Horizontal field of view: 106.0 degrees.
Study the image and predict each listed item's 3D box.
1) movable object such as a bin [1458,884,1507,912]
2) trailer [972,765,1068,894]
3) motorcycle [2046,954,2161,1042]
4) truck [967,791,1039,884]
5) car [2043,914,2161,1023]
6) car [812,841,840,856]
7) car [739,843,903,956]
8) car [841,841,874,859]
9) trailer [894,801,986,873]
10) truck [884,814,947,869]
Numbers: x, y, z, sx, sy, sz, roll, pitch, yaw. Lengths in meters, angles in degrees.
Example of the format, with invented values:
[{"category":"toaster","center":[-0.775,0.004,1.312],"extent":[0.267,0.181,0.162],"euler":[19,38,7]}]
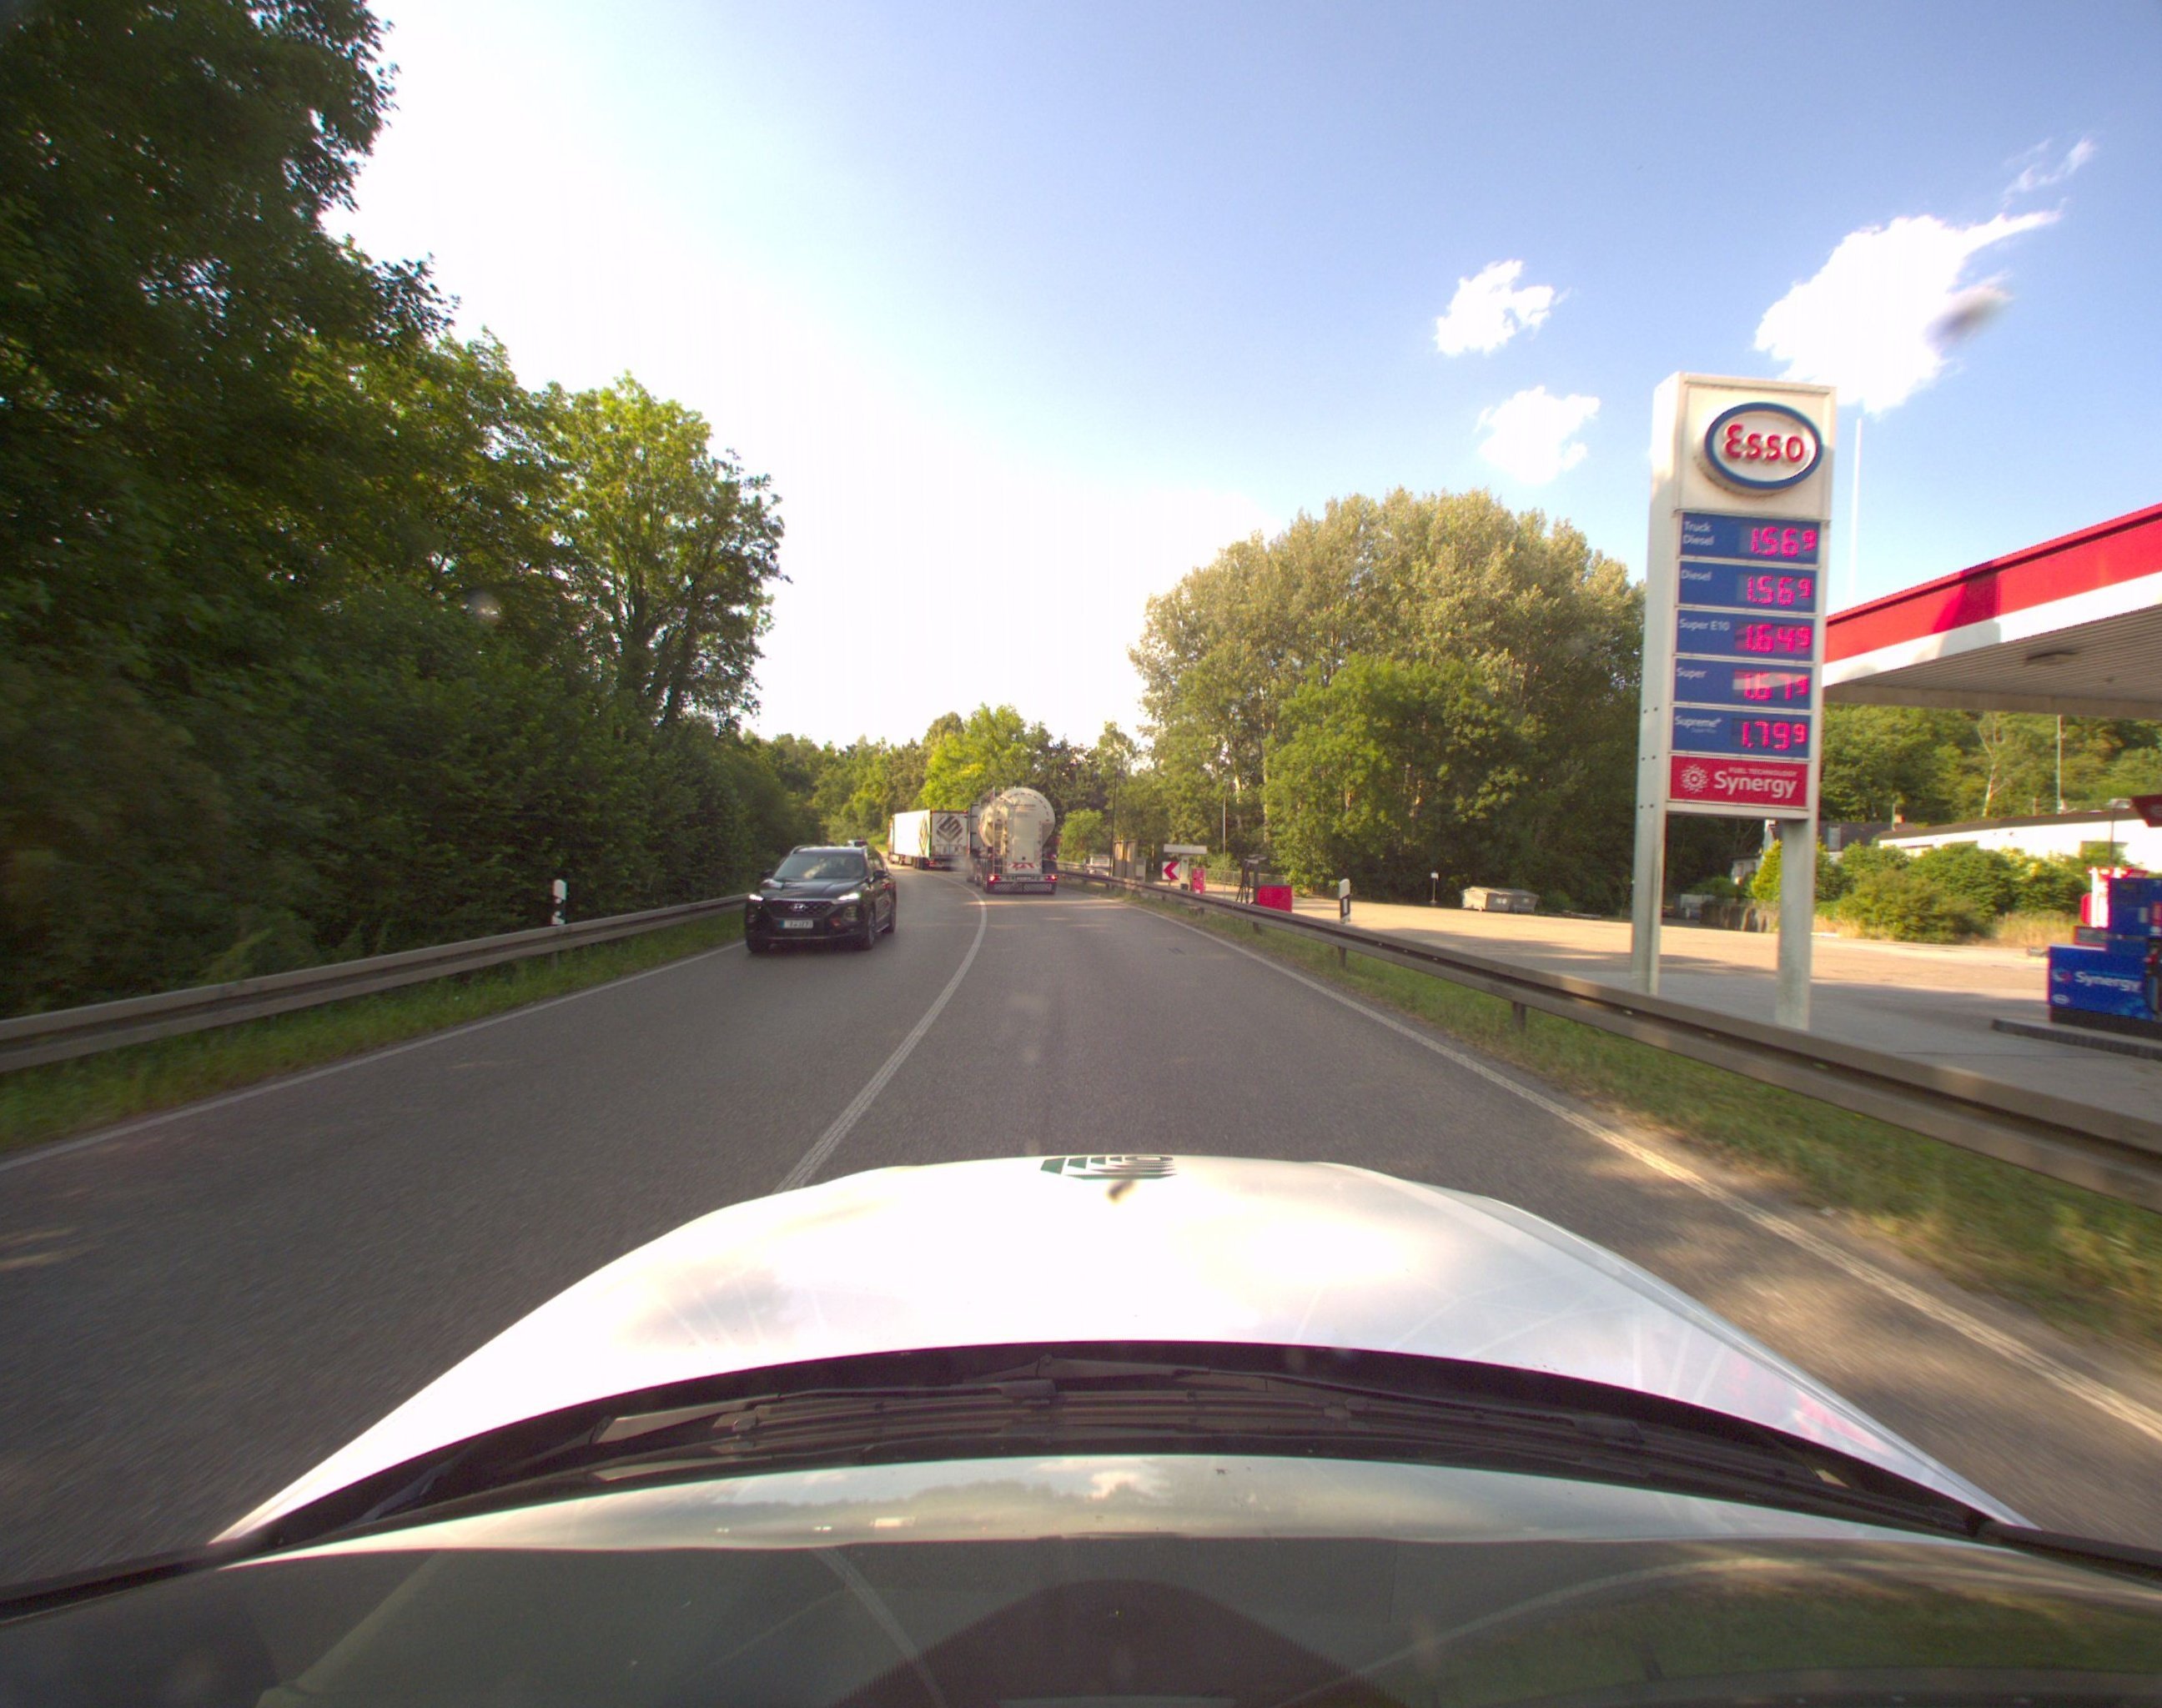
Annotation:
[{"category":"movable object such as a bin","center":[24.121,2.644,48.988],"extent":[1.268,1.420,2.545],"euler":[5,-1,-14]},{"category":"trailer","center":[-2.738,-0.833,33.096],"extent":[2.887,4.454,9.571],"euler":[0,0,-11]},{"category":"motorcycle","center":[14.565,1.979,10.792],"extent":[0.759,1.012,2.340],"euler":[2,0,-1]},{"category":"truck","center":[-3.844,-0.737,38.788],"extent":[2.826,4.034,5.871],"euler":[0,0,-11]},{"category":"car","center":[18.199,1.899,11.920],"extent":[2.086,1.628,5.177],"euler":[2,0,-1]},{"category":"car","center":[-27.796,-0.585,88.764],"extent":[1.881,1.564,3.957],"euler":[-1,1,-35]},{"category":"car","center":[-4.352,0.650,14.392],"extent":[1.865,1.653,4.539],"euler":[-1,1,-6]},{"category":"car","center":[-22.191,-0.398,80.864],"extent":[1.881,1.628,3.957],"euler":[2,0,-35]},{"category":"trailer","center":[-10.417,-1.112,58.487],"extent":[3.560,4.513,12.886],"euler":[2,0,-23]},{"category":"truck","center":[-13.366,-0.943,65.370],"extent":[3.467,4.086,6.437],"euler":[2,0,-25]}]
